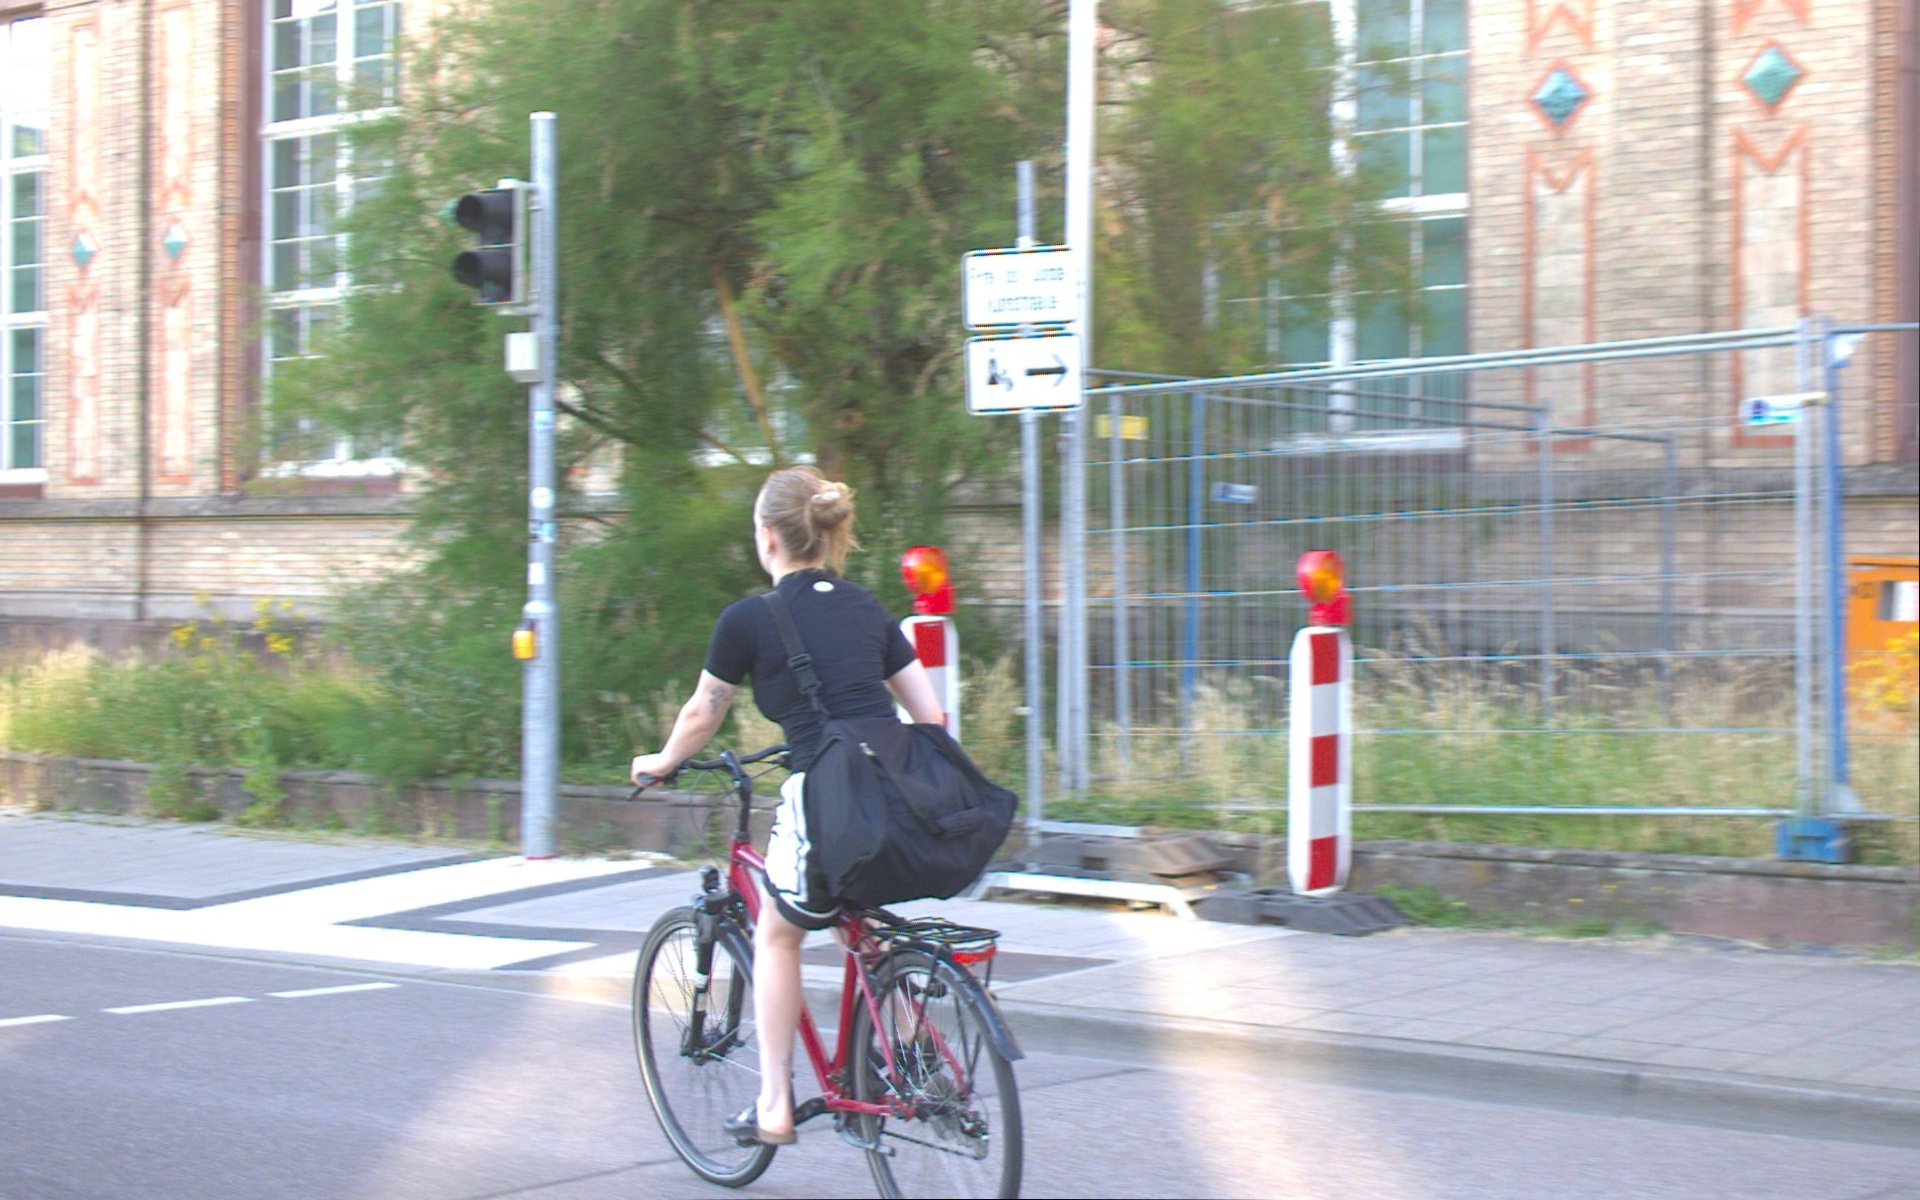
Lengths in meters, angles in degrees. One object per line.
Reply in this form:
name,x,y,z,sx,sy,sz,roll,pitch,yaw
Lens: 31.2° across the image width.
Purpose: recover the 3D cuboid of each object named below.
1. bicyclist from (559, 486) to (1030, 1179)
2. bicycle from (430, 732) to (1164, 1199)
bicyclist,-0.393,0.506,7.987,0.716,1.497,0.850,2,0,-35
bicycle,-0.452,0.929,8.063,0.711,1.152,2.068,2,0,-34
